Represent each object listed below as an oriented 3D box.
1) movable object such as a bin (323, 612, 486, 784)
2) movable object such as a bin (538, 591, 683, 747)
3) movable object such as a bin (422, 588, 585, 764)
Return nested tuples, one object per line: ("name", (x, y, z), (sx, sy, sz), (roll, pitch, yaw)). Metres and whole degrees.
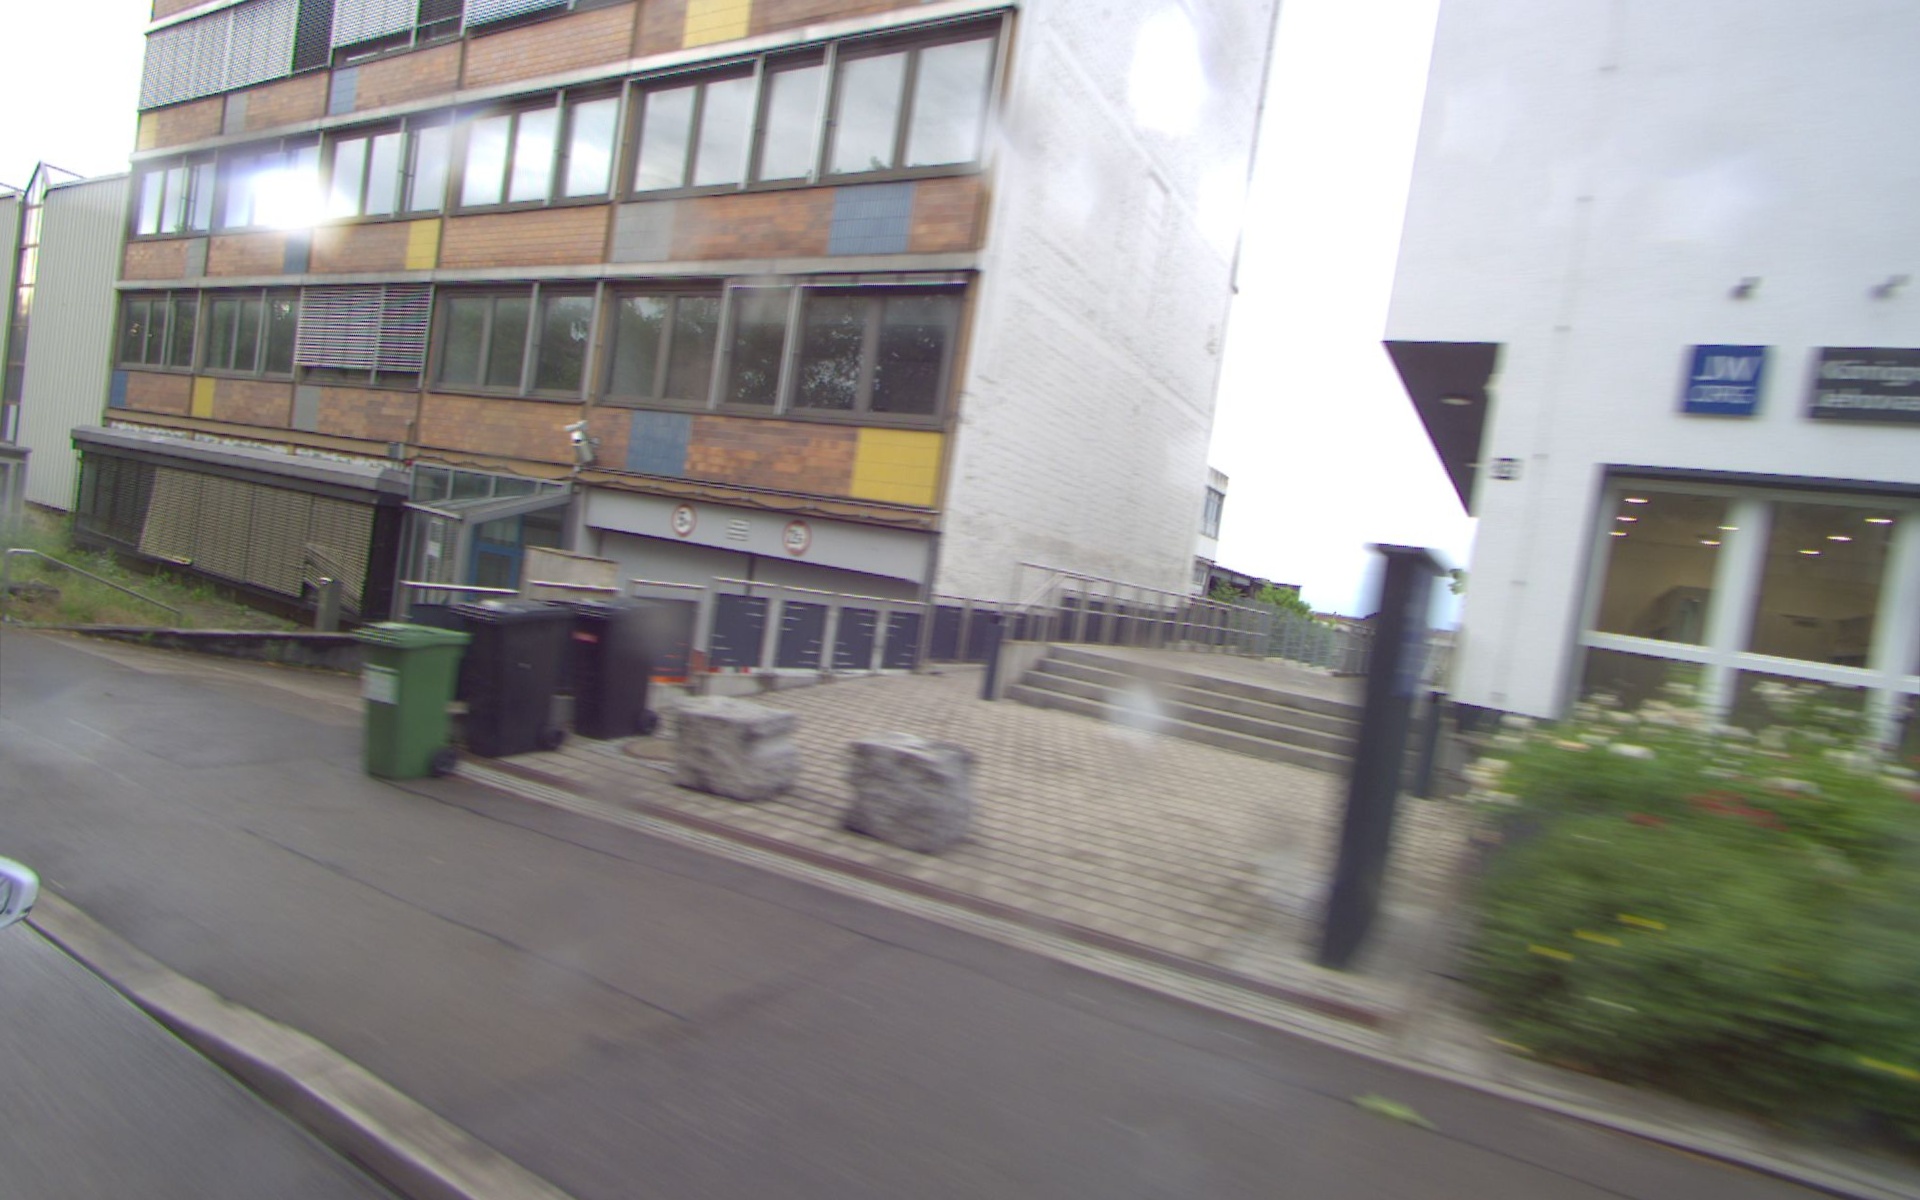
("movable object such as a bin", (-3.530, 0.591, 6.397), (0.674, 0.949, 0.619), (8, 4, 32))
("movable object such as a bin", (-2.778, 0.523, 8.008), (0.766, 1.097, 0.694), (8, 4, 32))
("movable object such as a bin", (-3.249, 0.514, 7.170), (0.766, 1.097, 0.694), (8, 4, 32))
